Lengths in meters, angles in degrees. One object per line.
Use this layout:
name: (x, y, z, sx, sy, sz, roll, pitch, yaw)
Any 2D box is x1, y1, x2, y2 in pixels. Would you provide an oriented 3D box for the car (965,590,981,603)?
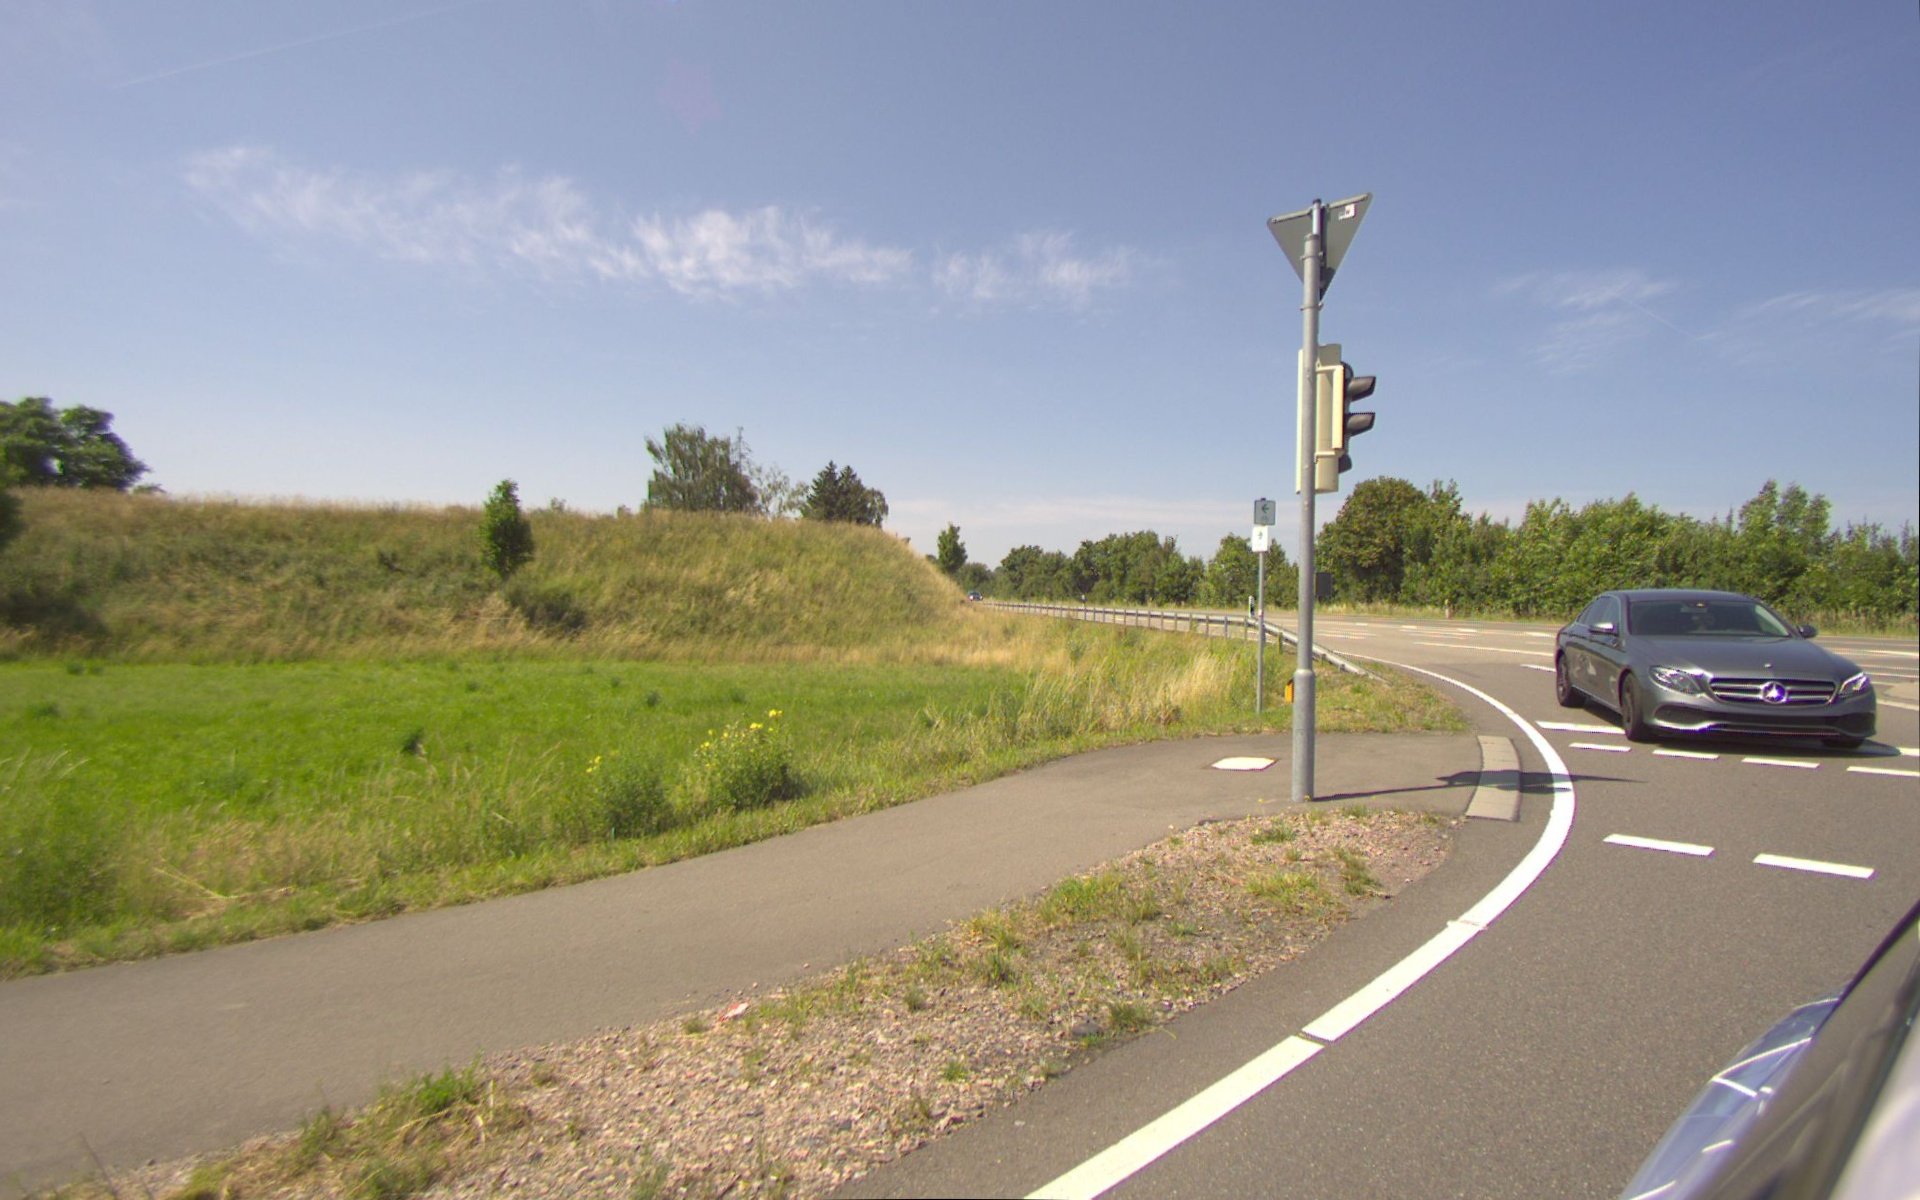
car: (1.704, -0.473, 135.649, 1.767, 1.705, 4.004, -1, 2, -4)

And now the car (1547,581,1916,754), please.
car: (7.946, 0.537, 11.012, 1.871, 1.465, 4.498, 0, 1, 19)
